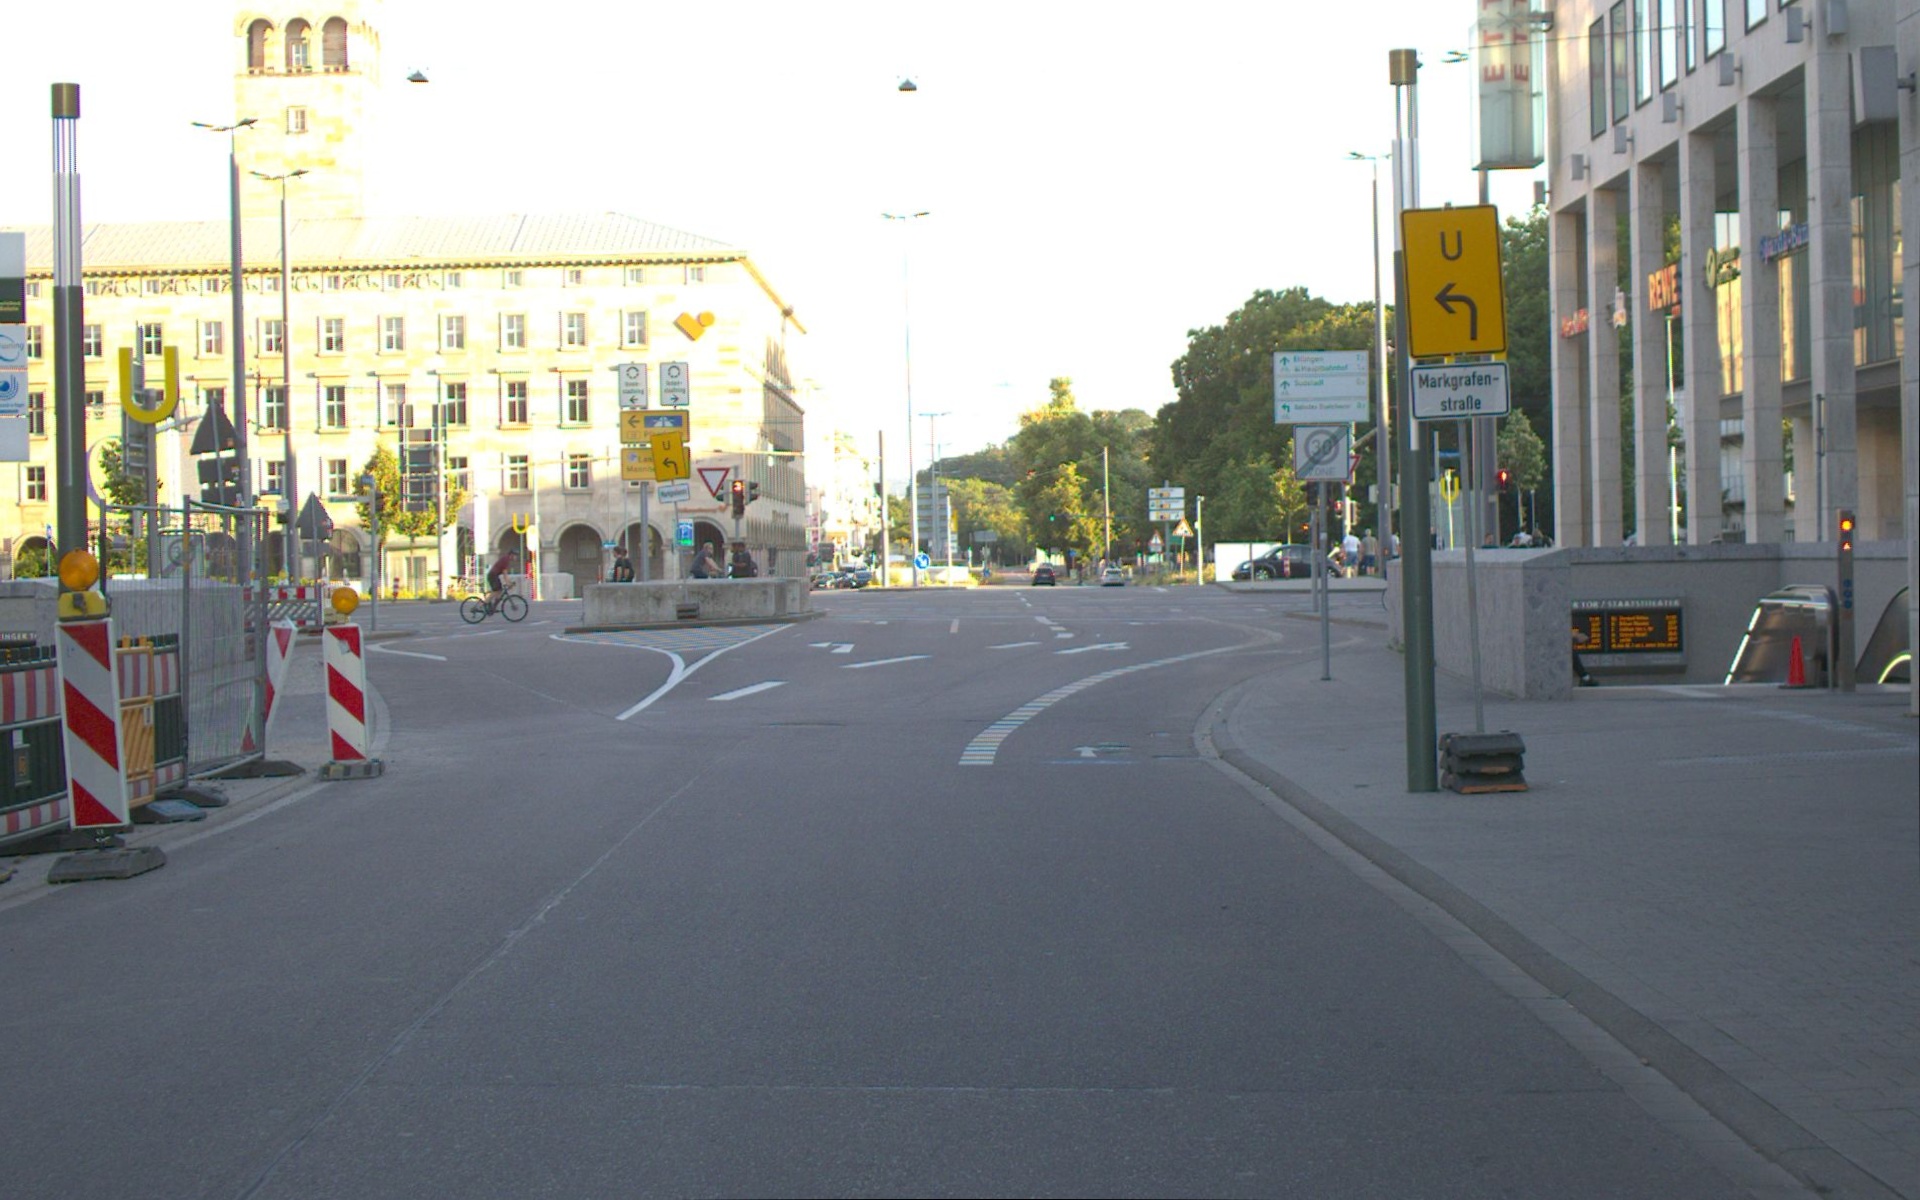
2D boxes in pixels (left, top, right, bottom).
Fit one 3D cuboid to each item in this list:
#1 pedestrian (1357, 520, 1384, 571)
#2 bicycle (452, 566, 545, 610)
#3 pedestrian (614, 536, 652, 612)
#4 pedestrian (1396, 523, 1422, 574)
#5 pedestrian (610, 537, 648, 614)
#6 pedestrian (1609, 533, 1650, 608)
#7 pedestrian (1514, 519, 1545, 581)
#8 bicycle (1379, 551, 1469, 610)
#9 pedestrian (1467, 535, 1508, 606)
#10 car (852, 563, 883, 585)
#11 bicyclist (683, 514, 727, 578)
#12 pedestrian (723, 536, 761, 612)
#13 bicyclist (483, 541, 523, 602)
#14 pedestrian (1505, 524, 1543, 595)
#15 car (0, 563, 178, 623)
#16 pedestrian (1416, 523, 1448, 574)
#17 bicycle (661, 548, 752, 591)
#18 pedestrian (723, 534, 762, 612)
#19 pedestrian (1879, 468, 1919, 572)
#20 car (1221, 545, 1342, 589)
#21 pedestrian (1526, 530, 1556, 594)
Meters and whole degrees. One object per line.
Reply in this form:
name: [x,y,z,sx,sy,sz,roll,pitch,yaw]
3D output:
pedestrian: [13.973,-1.854,117.031,0.808,1.724,0.688,-1,1,-1]
bicycle: [-11.730,-0.301,87.465,2.242,1.058,0.653,-1,1,2]
pedestrian: [-7.885,-0.629,82.884,0.738,1.771,0.863,-4,1,-2]
pedestrian: [15.303,-1.755,117.172,0.808,1.724,0.687,-1,1,13]
pedestrian: [-7.861,-0.589,81.721,0.738,1.771,0.863,-4,1,-2]
pedestrian: [16.686,-0.736,85.659,0.893,1.834,0.688,-1,1,3]
pedestrian: [16.094,-1.410,97.204,0.836,1.724,0.688,-1,1,9]
bicycle: [9.792,-0.407,72.538,1.819,1.208,0.570,-1,1,16]
pedestrian: [13.647,-0.774,89.030,0.860,1.771,0.741,-4,1,2]
car: [-6.713,-1.900,249.146,1.993,1.514,4.000,-1,1,2]
bicyclist: [-6.514,-1.388,87.859,1.019,1.615,0.653,-1,1,1]
pedestrian: [-5.094,-0.614,80.252,0.738,1.771,0.864,0,1,-15]
bicyclist: [-11.626,-0.733,87.459,0.879,1.525,0.653,-1,1,2]
pedestrian: [14.533,-1.040,88.612,0.756,1.771,0.741,-4,1,2]
car: [-23.657,-0.190,92.294,4.796,1.490,2.128,-1,1,0]
pedestrian: [16.064,-1.749,117.075,0.808,1.724,0.688,-1,1,-28]
bicycle: [-6.482,-0.782,87.860,2.242,1.058,0.653,-1,1,1]
pedestrian: [-5.022,-0.627,79.312,0.738,1.771,0.863,-3,1,-9]
pedestrian: [16.454,-1.383,59.308,0.860,1.771,0.991,-2,1,0]
car: [11.683,-1.200,125.004,3.986,1.489,1.829,-1,1,-10]
pedestrian: [15.979,-1.047,94.567,0.692,1.724,0.741,-1,1,2]
